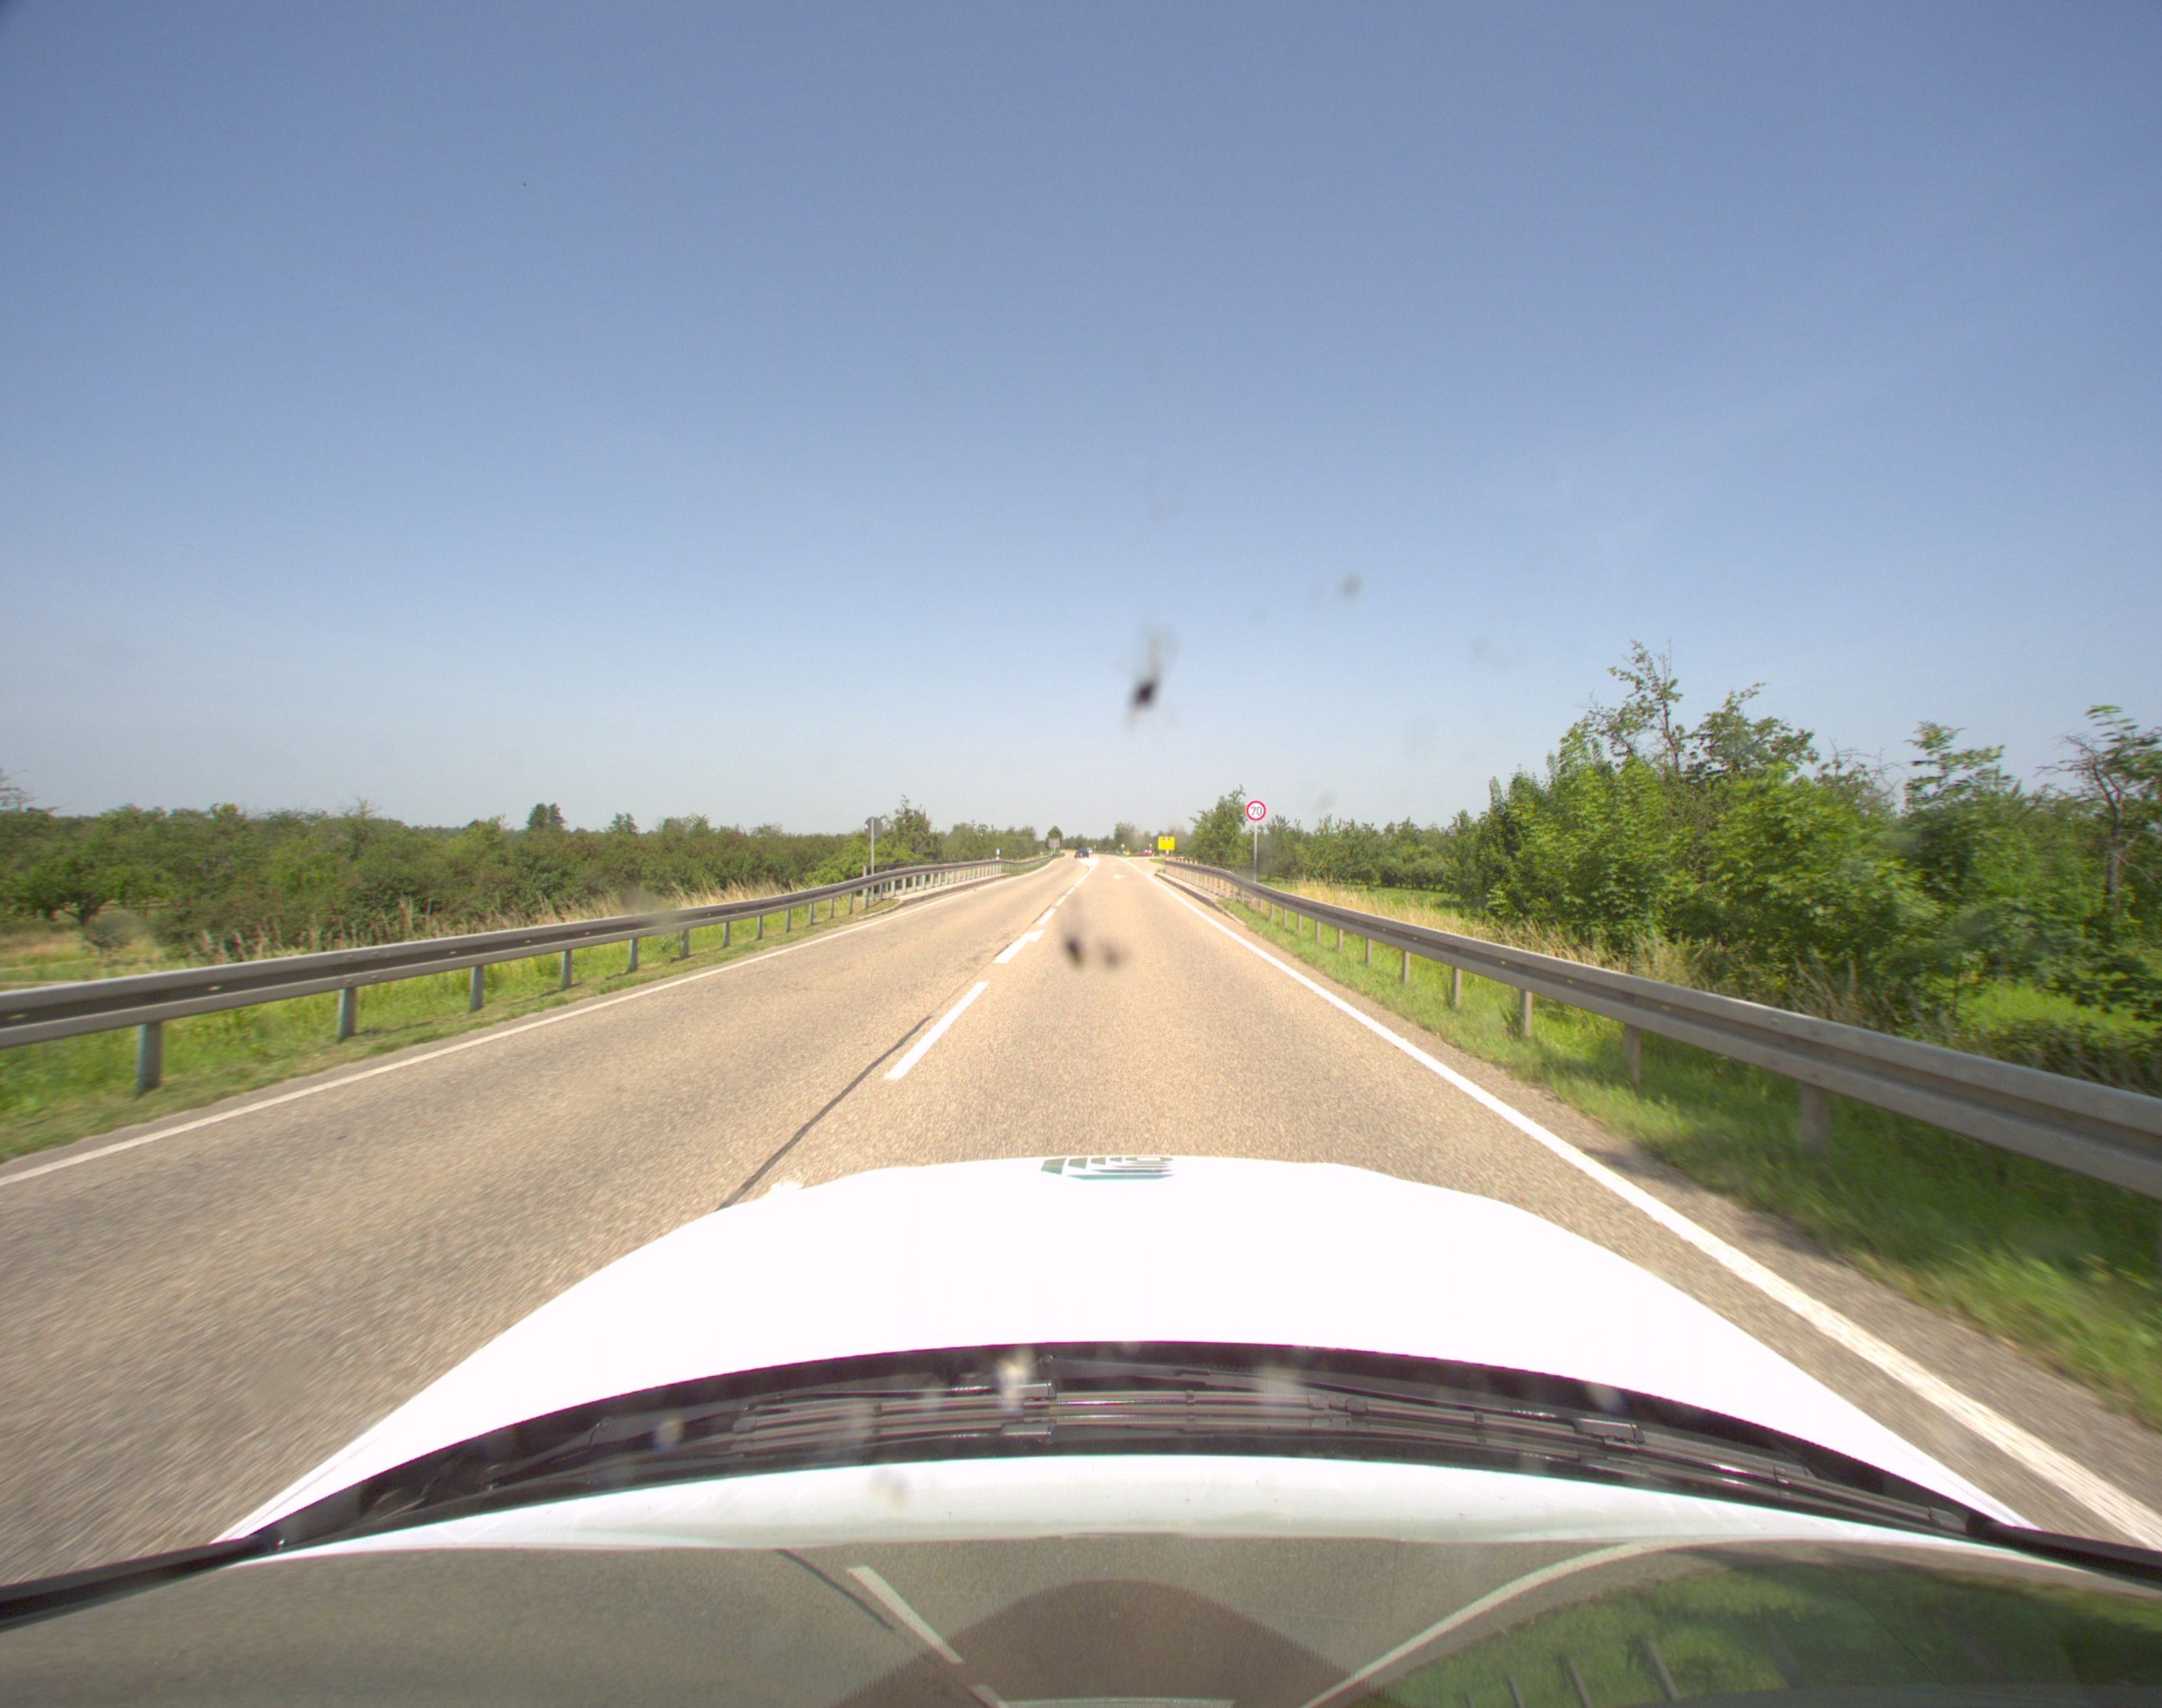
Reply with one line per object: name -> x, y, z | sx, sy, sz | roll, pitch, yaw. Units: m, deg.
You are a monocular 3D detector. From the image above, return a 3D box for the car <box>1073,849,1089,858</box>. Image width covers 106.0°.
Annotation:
car -> 0.043, -0.093, 153.632 | 1.790, 1.637, 4.830 | 0, 0, 16

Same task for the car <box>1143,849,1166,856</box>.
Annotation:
car -> 14.995, -0.342, 166.360 | 4.452, 1.449, 1.827 | 0, 0, 10
